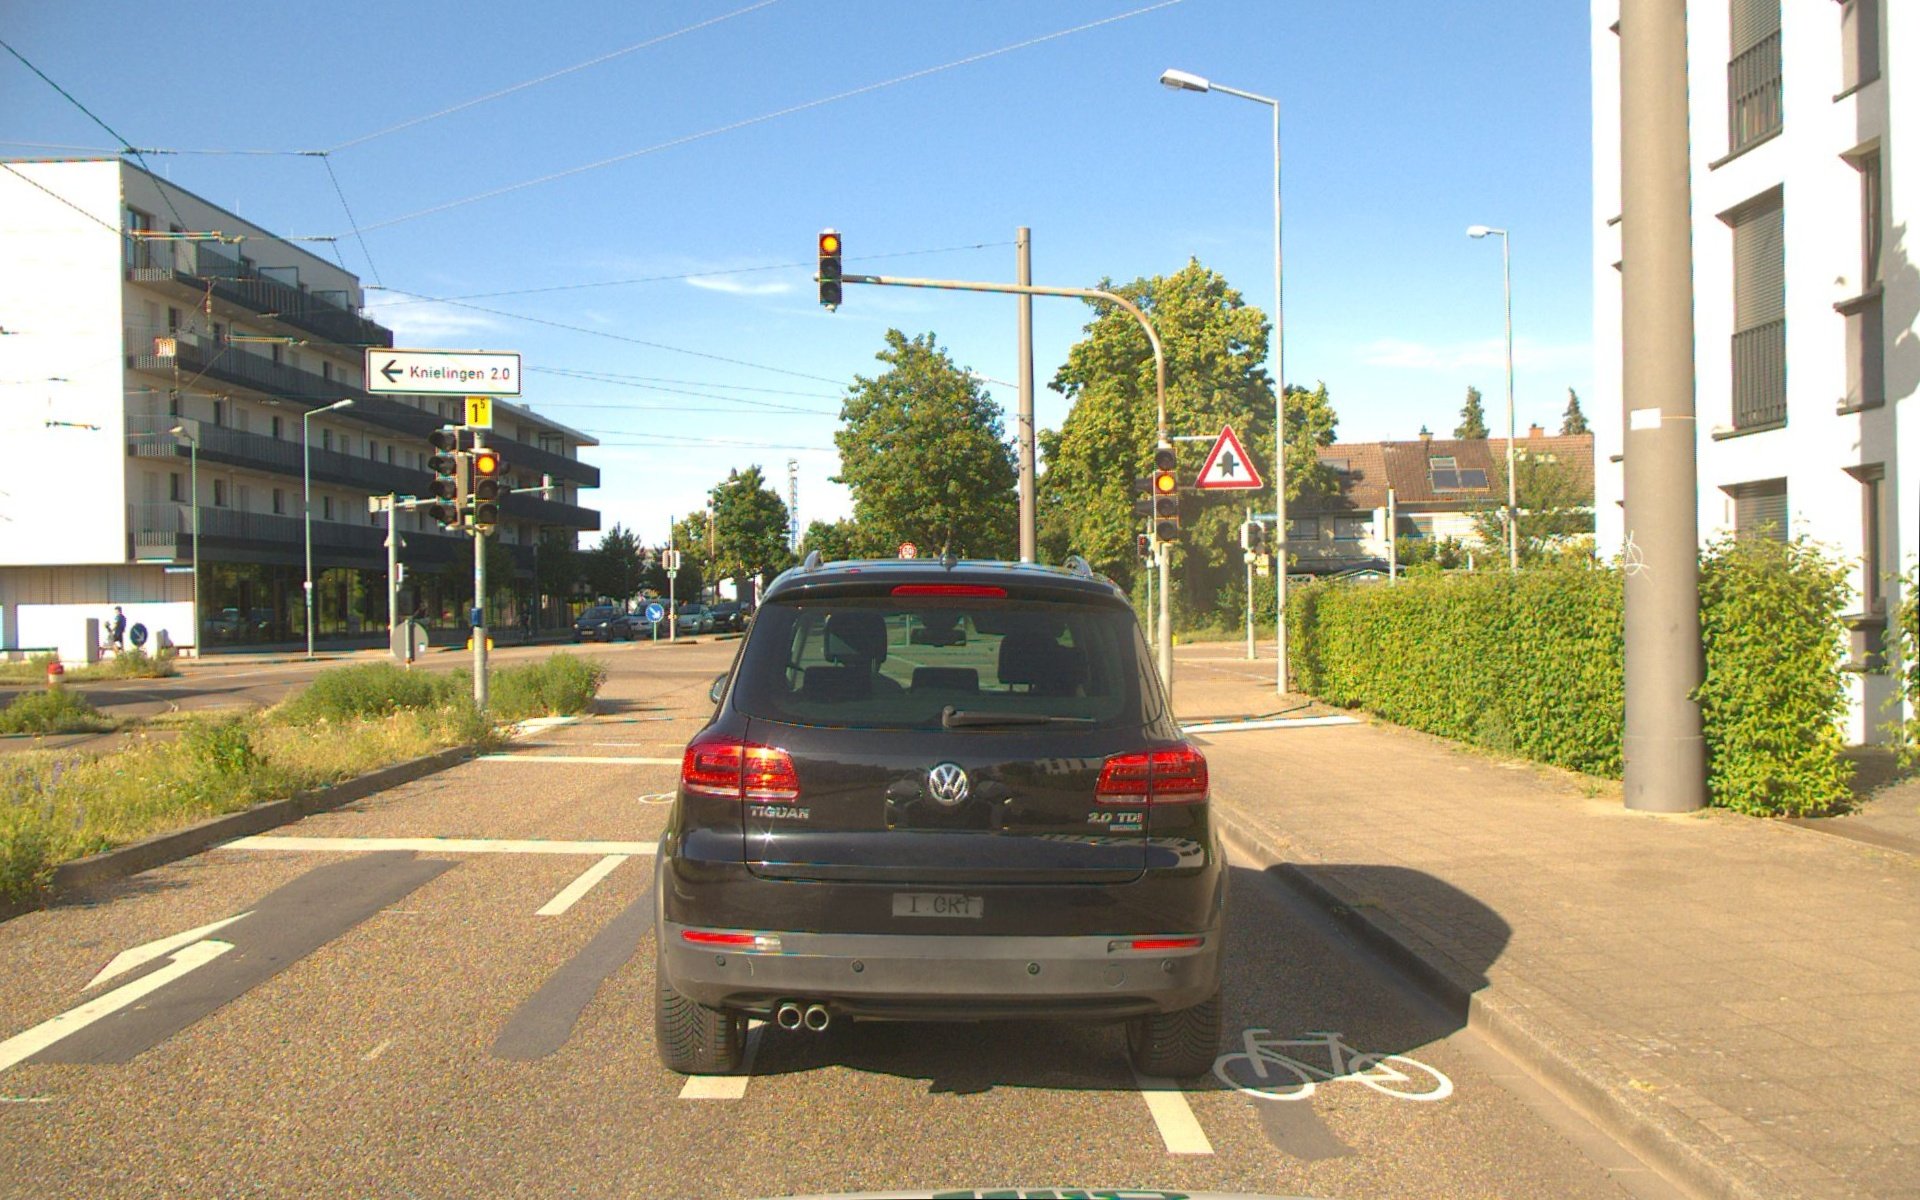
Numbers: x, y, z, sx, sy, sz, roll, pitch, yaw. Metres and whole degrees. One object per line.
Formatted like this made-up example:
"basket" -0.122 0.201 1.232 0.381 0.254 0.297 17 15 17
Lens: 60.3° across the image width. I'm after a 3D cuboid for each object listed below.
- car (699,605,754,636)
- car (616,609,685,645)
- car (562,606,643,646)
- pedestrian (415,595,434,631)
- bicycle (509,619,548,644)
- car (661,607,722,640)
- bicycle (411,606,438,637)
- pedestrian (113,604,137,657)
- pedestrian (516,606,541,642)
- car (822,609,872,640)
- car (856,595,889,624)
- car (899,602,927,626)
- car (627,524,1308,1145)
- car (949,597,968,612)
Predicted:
"car" -12.797 1.119 90.860 1.951 1.601 4.342 1 0 7
"car" -14.599 1.265 78.215 1.951 1.601 4.342 1 0 7
"car" -15.342 1.103 71.215 1.951 1.601 4.343 1 0 9
"pedestrian" -23.552 0.570 72.767 0.630 1.535 0.595 1 -1 -3
"bicycle" -18.299 1.332 70.242 0.755 1.006 2.434 1 0 6
"car" -13.763 1.180 84.950 1.951 1.601 4.342 1 0 7
"bicycle" -23.560 0.933 72.757 0.617 1.355 1.912 1 0 -3
"pedestrian" -28.283 1.017 56.046 0.532 1.774 0.517 1 -1 -6
"pedestrian" -18.298 1.018 70.169 0.696 1.499 0.954 1 0 6
"car" -5.799 1.235 85.441 1.824 1.511 4.113 -1 0 7
"car" -5.451 0.555 103.505 1.825 1.750 3.687 -1 0 1
"car" -3.839 1.131 135.945 1.952 1.869 4.001 1 0 2
"car" -0.001 0.650 6.505 1.831 1.666 3.999 1 0 -1
"car" -0.180 0.509 188.719 1.953 1.713 3.998 1 0 -2
